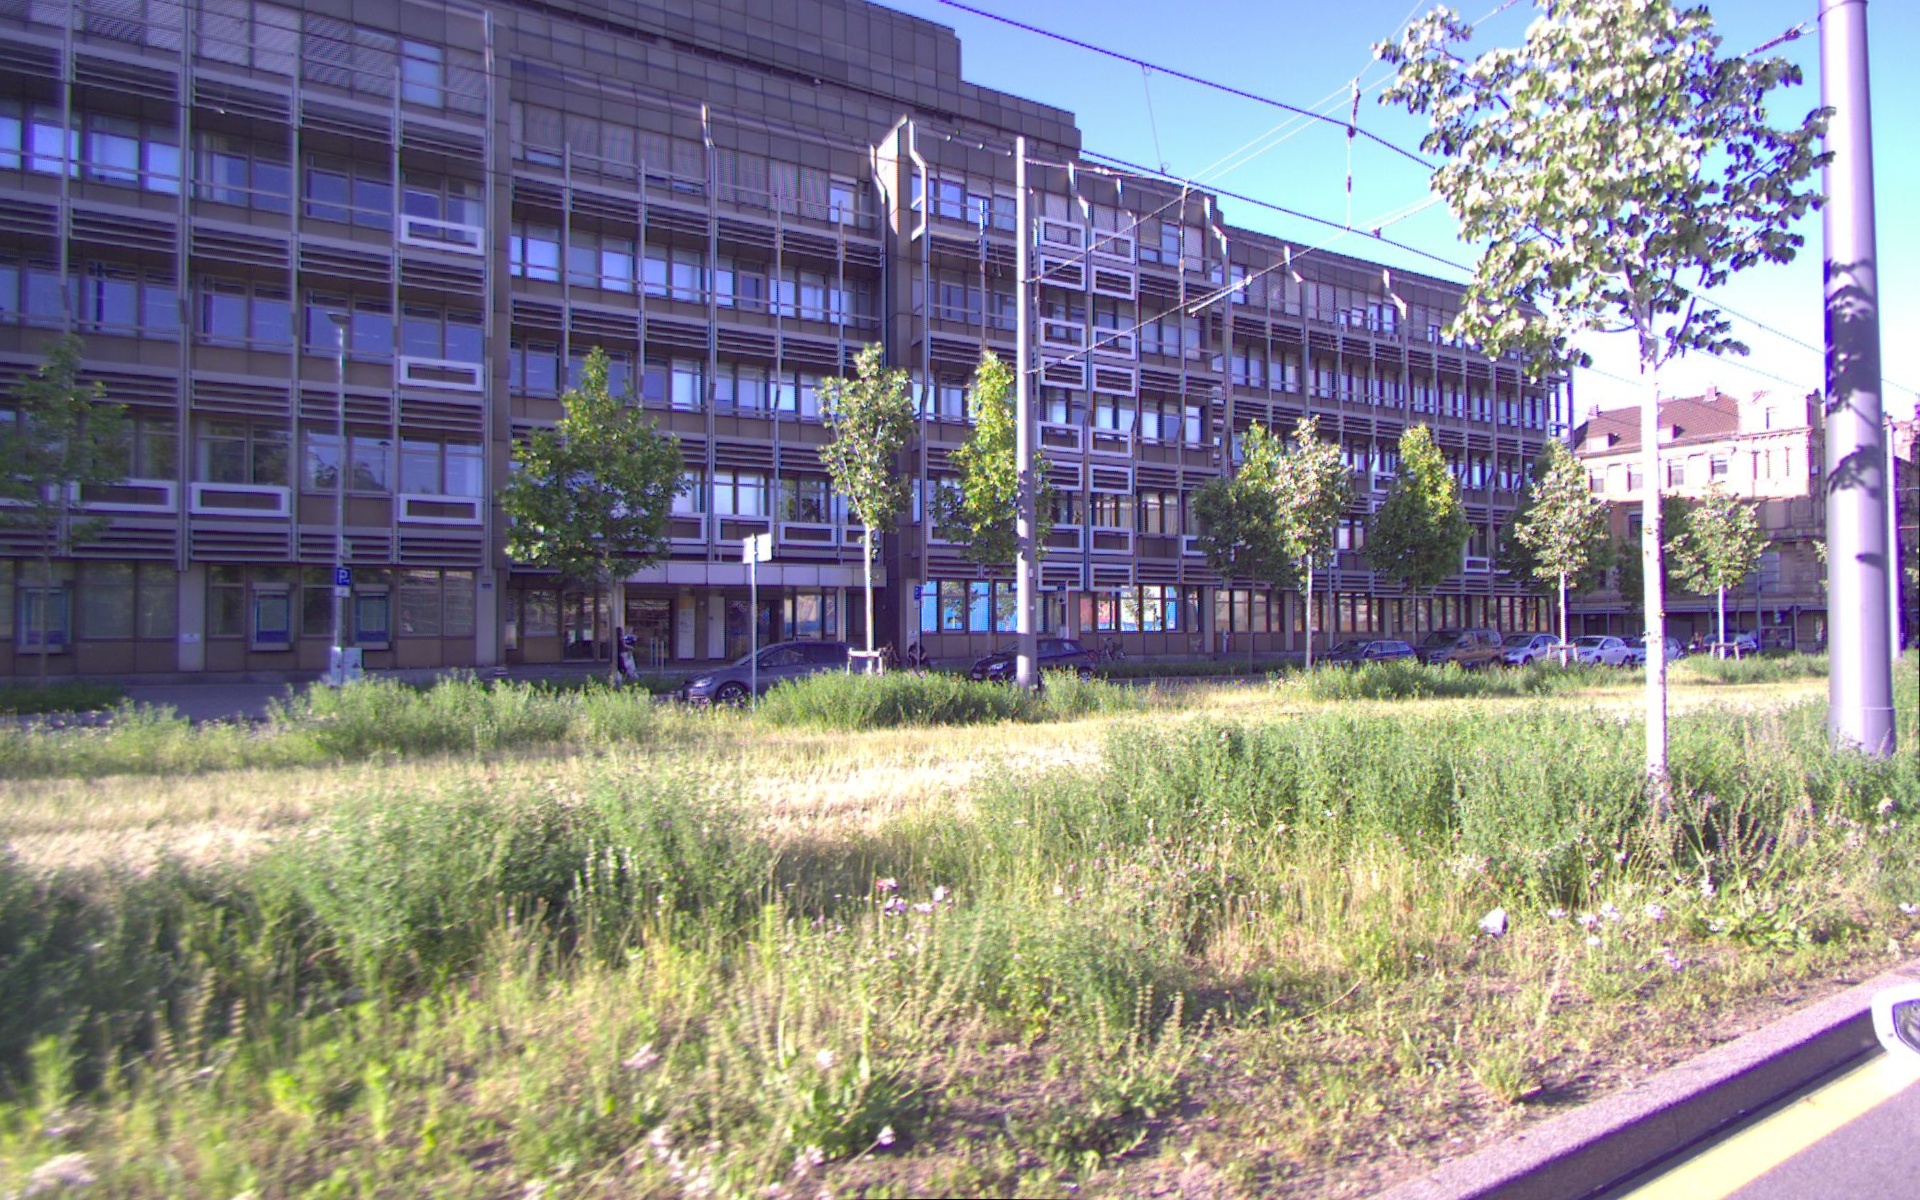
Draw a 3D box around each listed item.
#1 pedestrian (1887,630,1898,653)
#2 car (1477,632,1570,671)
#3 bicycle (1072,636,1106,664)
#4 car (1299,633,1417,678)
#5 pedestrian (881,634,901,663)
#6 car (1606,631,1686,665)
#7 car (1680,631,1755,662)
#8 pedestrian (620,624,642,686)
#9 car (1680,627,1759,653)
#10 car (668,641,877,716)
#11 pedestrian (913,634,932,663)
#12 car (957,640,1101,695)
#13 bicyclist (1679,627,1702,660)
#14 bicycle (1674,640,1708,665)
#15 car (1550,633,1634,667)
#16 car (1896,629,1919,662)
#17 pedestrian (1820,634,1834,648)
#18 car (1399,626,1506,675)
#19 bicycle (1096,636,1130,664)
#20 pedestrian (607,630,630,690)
[{"bbox_3d":[74.783,3.329,80.545,0.402,1.788,0.504,1,0,-37],"label":"pedestrian"},{"bbox_3d":[23.822,2.149,42.421,3.837,1.556,1.730,1,-1,-30],"label":"car"},{"bbox_3d":[5.146,2.012,40.226,0.419,1.086,1.870,0,-2,-24],"label":"bicycle"},{"bbox_3d":[14.698,2.005,37.014,4.452,1.488,1.721,1,0,-31],"label":"car"},{"bbox_3d":[-2.410,1.687,35.111,0.492,0.999,0.615,1,-2,-27],"label":"pedestrian"},{"bbox_3d":[32.896,2.266,48.158,3.918,1.574,1.642,1,-2,-29],"label":"car"},{"bbox_3d":[39.679,2.400,52.582,3.852,1.481,1.723,1,0,-29],"label":"car"},{"bbox_3d":[-9.304,1.557,28.436,0.529,1.744,0.519,1,-2,-26],"label":"pedestrian"},{"bbox_3d":[56.740,2.972,75.098,1.883,1.928,4.471,1,-3,-41],"label":"car"},{"bbox_3d":[-3.892,1.571,20.936,3.988,1.405,1.710,1,-2,-28],"label":"car"},{"bbox_3d":[-1.335,1.710,35.611,0.492,0.999,0.615,1,-2,-27],"label":"pedestrian"},{"bbox_3d":[2.063,1.961,29.740,3.990,1.406,1.708,1,1,-29],"label":"car"},{"bbox_3d":[32.925,1.940,45.273,0.698,1.476,0.562,1,-2,-31],"label":"bicyclist"},{"bbox_3d":[32.950,2.357,45.273,1.750,1.110,0.562,1,-3,-31],"label":"bicycle"},{"bbox_3d":[28.345,2.222,45.065,3.773,1.460,1.617,1,-1,-30],"label":"car"},{"bbox_3d":[54.464,2.543,56.431,4.075,1.770,1.719,1,-2,-32],"label":"car"},{"bbox_3d":[67.119,3.156,77.753,0.729,1.073,0.685,1,-2,-36],"label":"pedestrian"},{"bbox_3d":[19.476,1.961,39.690,4.279,1.795,1.743,1,0,-30],"label":"car"},{"bbox_3d":[6.200,2.033,40.837,0.419,1.086,1.924,0,-2,-24],"label":"bicycle"},{"bbox_3d":[-9.286,1.620,27.320,0.529,1.599,0.519,1,-2,-26],"label":"pedestrian"}]
